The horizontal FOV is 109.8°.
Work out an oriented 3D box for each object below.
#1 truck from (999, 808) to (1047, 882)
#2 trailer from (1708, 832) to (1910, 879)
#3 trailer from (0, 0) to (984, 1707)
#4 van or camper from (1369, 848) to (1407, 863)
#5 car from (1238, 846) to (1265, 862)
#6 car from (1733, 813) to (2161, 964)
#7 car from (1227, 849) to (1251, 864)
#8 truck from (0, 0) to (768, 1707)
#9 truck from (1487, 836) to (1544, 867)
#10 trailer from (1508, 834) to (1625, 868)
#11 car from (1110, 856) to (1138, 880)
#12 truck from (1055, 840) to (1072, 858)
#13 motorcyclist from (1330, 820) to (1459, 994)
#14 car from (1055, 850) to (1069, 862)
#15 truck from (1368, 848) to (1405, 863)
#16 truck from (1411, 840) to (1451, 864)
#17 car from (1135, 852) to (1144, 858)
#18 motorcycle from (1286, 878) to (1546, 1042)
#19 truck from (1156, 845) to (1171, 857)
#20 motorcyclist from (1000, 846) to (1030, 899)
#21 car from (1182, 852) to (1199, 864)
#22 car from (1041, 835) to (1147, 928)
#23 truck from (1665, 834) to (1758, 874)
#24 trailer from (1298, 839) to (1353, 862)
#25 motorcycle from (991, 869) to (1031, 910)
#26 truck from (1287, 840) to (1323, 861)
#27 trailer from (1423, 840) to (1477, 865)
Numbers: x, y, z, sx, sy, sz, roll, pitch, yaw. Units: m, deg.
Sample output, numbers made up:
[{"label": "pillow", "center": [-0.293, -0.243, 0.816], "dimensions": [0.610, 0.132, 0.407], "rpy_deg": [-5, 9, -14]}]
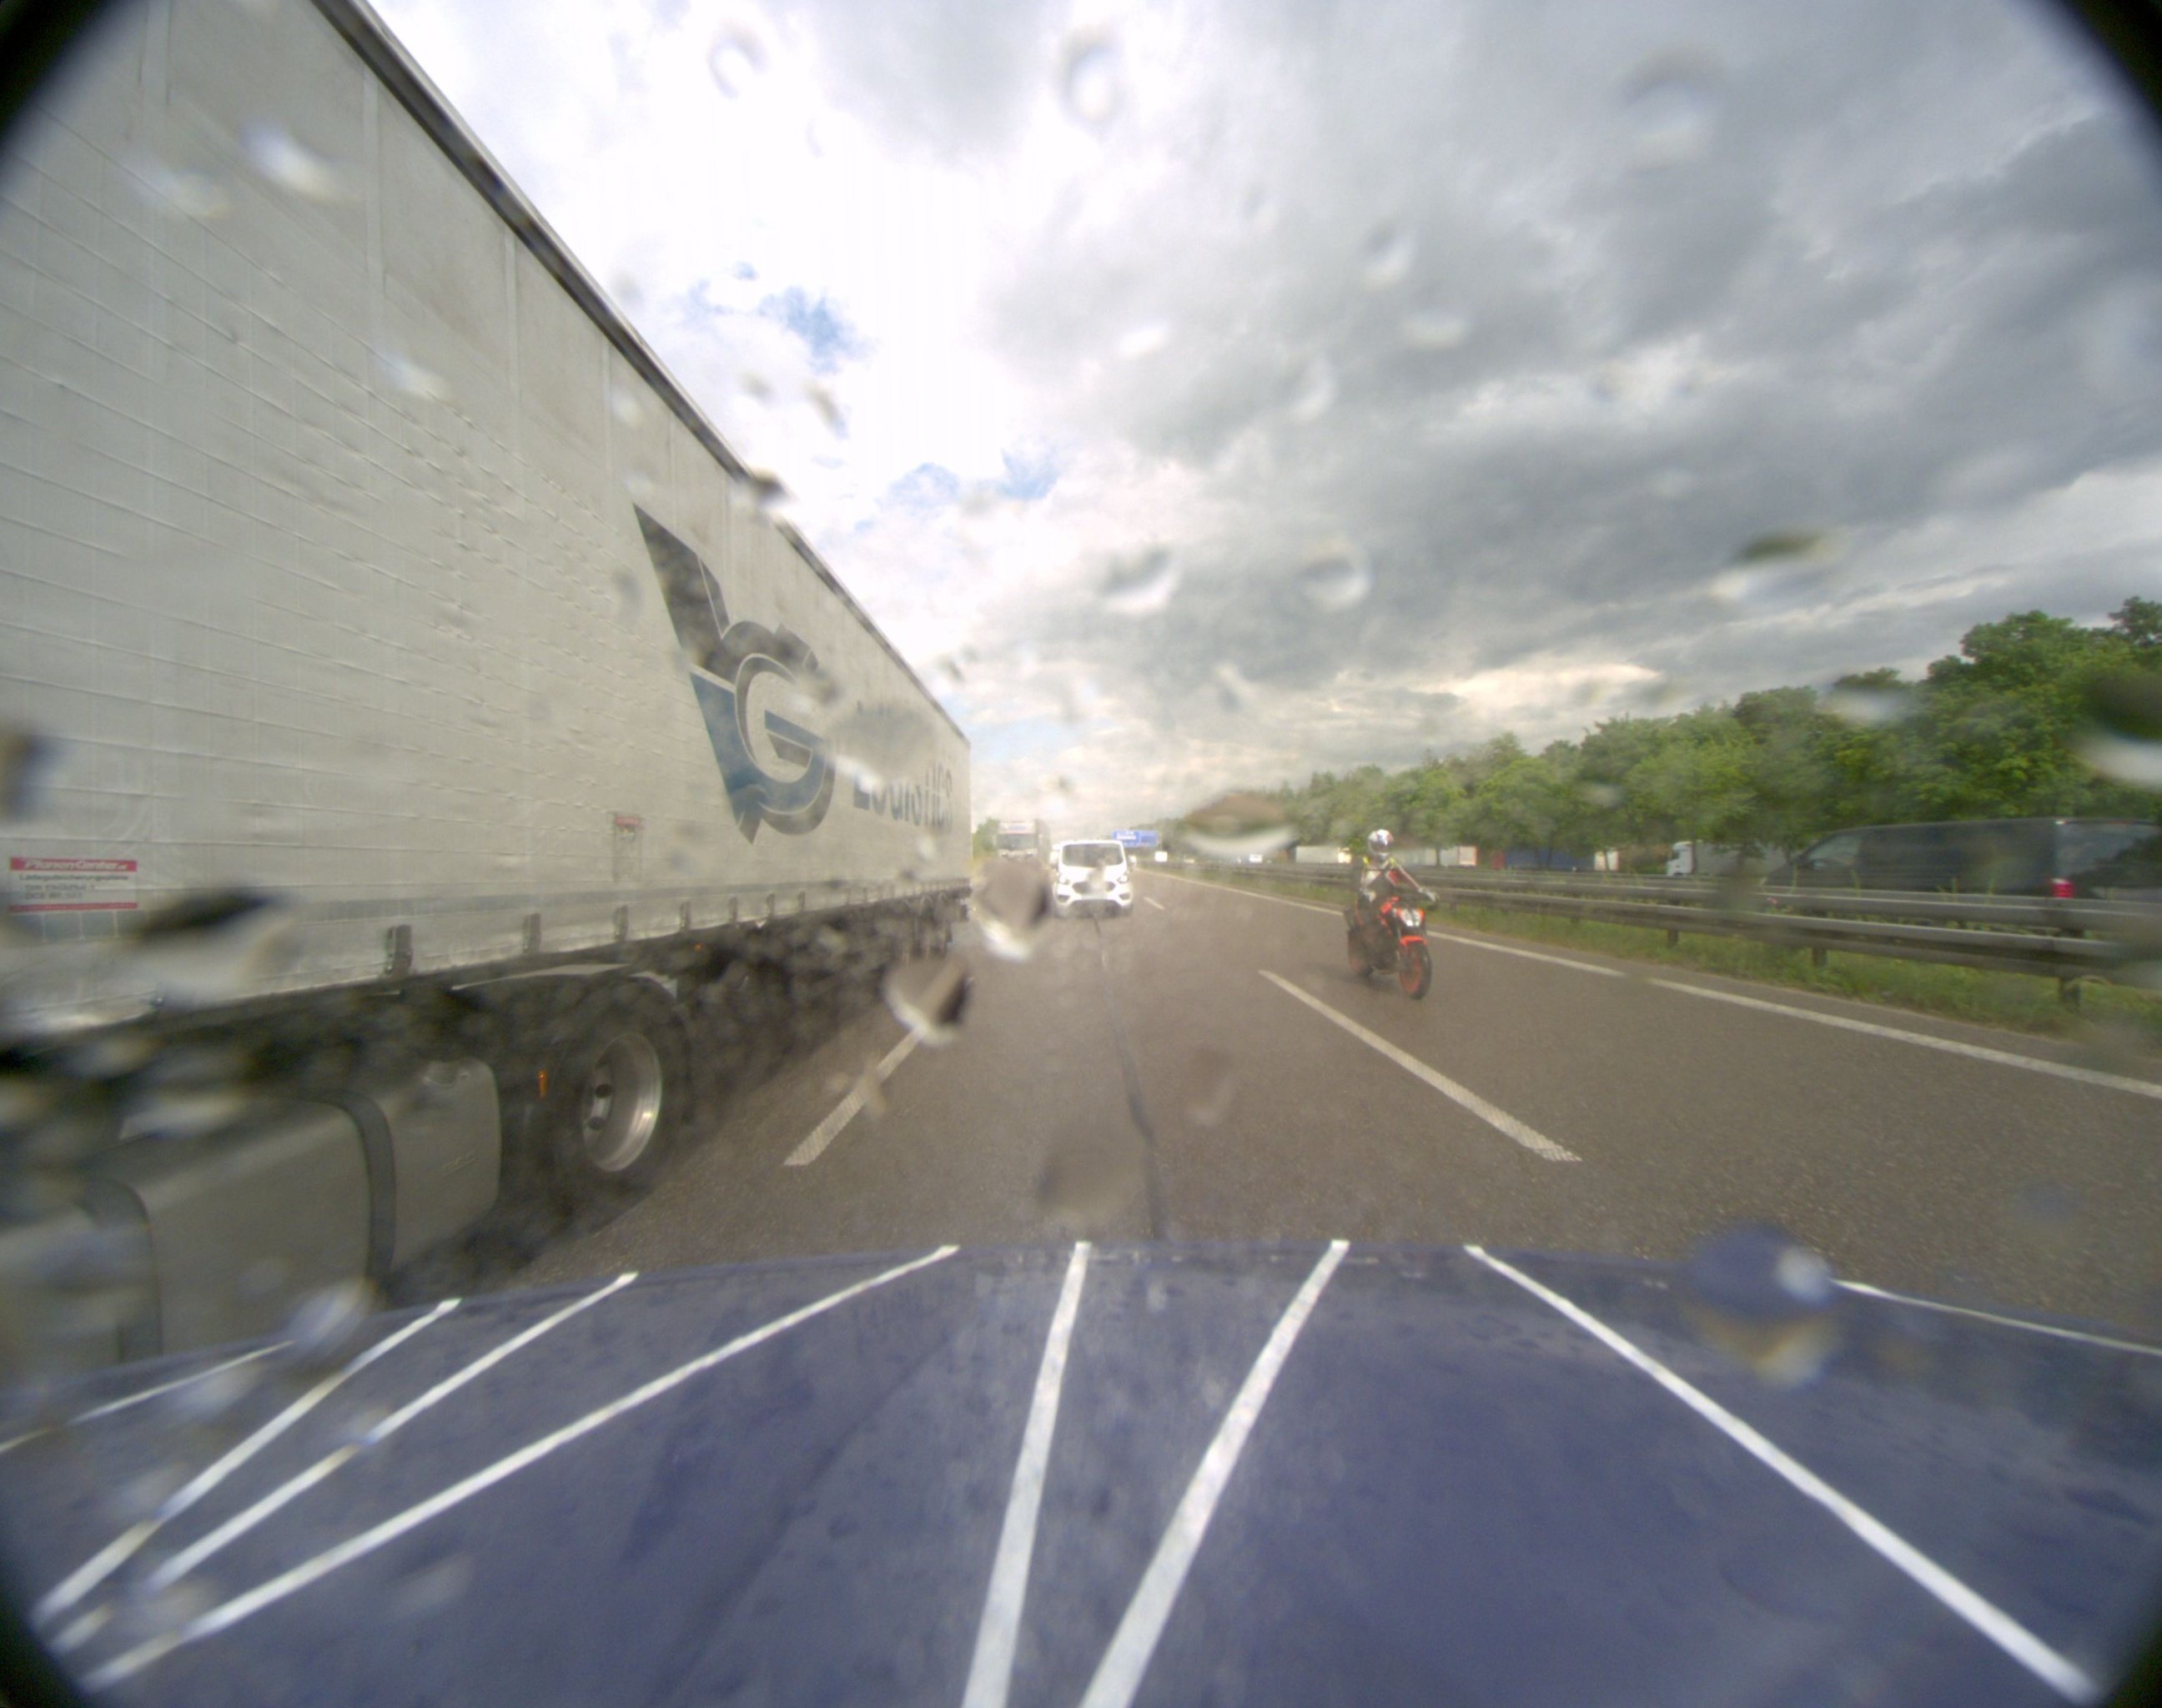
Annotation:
[{"label": "truck", "center": [-3.599, -0.560, 47.915], "dimensions": [2.650, 4.250, 6.882], "rpy_deg": [-2, 1, -3]}, {"label": "trailer", "center": [55.347, 0.087, 58.615], "dimensions": [3.356, 3.198, 12.471], "rpy_deg": [0, 0, -2]}, {"label": "trailer", "center": [-3.561, -0.186, 7.852], "dimensions": [3.292, 3.876, 14.126], "rpy_deg": [-2, 0, -1]}, {"label": "van or camper", "center": [47.443, 0.200, 117.645], "dimensions": [2.126, 2.252, 6.316], "rpy_deg": [-2, 1, -13]}, {"label": "car", "center": [21.183, -0.072, 94.456], "dimensions": [2.052, 1.880, 5.258], "rpy_deg": [-2, 1, 0]}, {"label": "car", "center": [13.651, 0.401, 12.222], "dimensions": [1.958, 1.880, 5.057], "rpy_deg": [-2, 1, 0]}, {"label": "car", "center": [20.915, 0.286, 100.578], "dimensions": [2.052, 1.880, 5.258], "rpy_deg": [-2, 1, 0]}, {"label": "truck", "center": [-3.488, -0.192, 1.123], "dimensions": [3.293, 3.868, 6.395], "rpy_deg": [-2, 0, -1]}, {"label": "truck", "center": [51.908, -0.328, 90.904], "dimensions": [2.869, 3.436, 5.892], "rpy_deg": [-2, 1, -7]}, {"label": "trailer", "center": [52.813, -0.321, 83.428], "dimensions": [2.832, 3.385, 13.417], "rpy_deg": [0, 0, -7]}, {"label": "car", "center": [4.025, 1.307, 72.051], "dimensions": [2.350, 2.033, 5.142], "rpy_deg": [-2, 1, 0]}, {"label": "truck", "center": [-3.618, -1.031, 157.642], "dimensions": [3.218, 3.607, 10.152], "rpy_deg": [-2, 1, 0]}, {"label": "motorcyclist", "center": [3.278, 0.523, 8.036], "dimensions": [0.883, 1.696, 1.000], "rpy_deg": [-2, 1, -2]}, {"label": "car", "center": [-3.389, 0.348, 136.718], "dimensions": [2.350, 2.033, 5.142], "rpy_deg": [-2, 1, 0]}, {"label": "truck", "center": [47.238, 0.205, 117.738], "dimensions": [2.126, 2.252, 6.311], "rpy_deg": [-2, 1, -13]}, {"label": "truck", "center": [49.150, -0.243, 106.802], "dimensions": [2.663, 3.249, 5.081], "rpy_deg": [-2, 1, -10]}, {"label": "car", "center": [18.636, 0.329, 242.172], "dimensions": [2.306, 1.880, 4.778], "rpy_deg": [-2, 1, 0]}, {"label": "motorcycle", "center": [3.297, 0.951, 8.073], "dimensions": [1.188, 1.219, 3.193], "rpy_deg": [-2, 1, -3]}, {"label": "truck", "center": [20.782, -0.783, 191.899], "dimensions": [2.849, 2.666, 7.190], "rpy_deg": [-2, 1, 1]}, {"label": "motorcyclist", "center": [-2.194, 0.586, 25.226], "dimensions": [0.883, 1.696, 1.000], "rpy_deg": [-2, 1, -2]}, {"label": "car", "center": [18.350, 0.666, 127.951], "dimensions": [2.052, 1.880, 5.258], "rpy_deg": [-2, 1, 0]}, {"label": "car", "center": [0.293, 0.595, 19.875], "dimensions": [2.350, 2.033, 5.142], "rpy_deg": [-2, 1, 0]}, {"label": "truck", "center": [55.023, 0.005, 66.465], "dimensions": [3.362, 3.254, 5.505], "rpy_deg": [-2, 1, -4]}, {"label": "trailer", "center": [42.863, -0.596, 133.835], "dimensions": [3.216, 3.717, 12.553], "rpy_deg": [-1, 0, -14]}, {"label": "motorcycle", "center": [-2.282, 1.138, 25.217], "dimensions": [1.188, 1.142, 3.193], "rpy_deg": [-2, 1, -3]}, {"label": "truck", "center": [41.227, -0.627, 140.210], "dimensions": [3.219, 3.683, 6.907], "rpy_deg": [-2, 1, -14]}, {"label": "trailer", "center": [49.891, -0.239, 103.066], "dimensions": [2.588, 3.214, 7.734], "rpy_deg": [-1, 0, -10]}]
